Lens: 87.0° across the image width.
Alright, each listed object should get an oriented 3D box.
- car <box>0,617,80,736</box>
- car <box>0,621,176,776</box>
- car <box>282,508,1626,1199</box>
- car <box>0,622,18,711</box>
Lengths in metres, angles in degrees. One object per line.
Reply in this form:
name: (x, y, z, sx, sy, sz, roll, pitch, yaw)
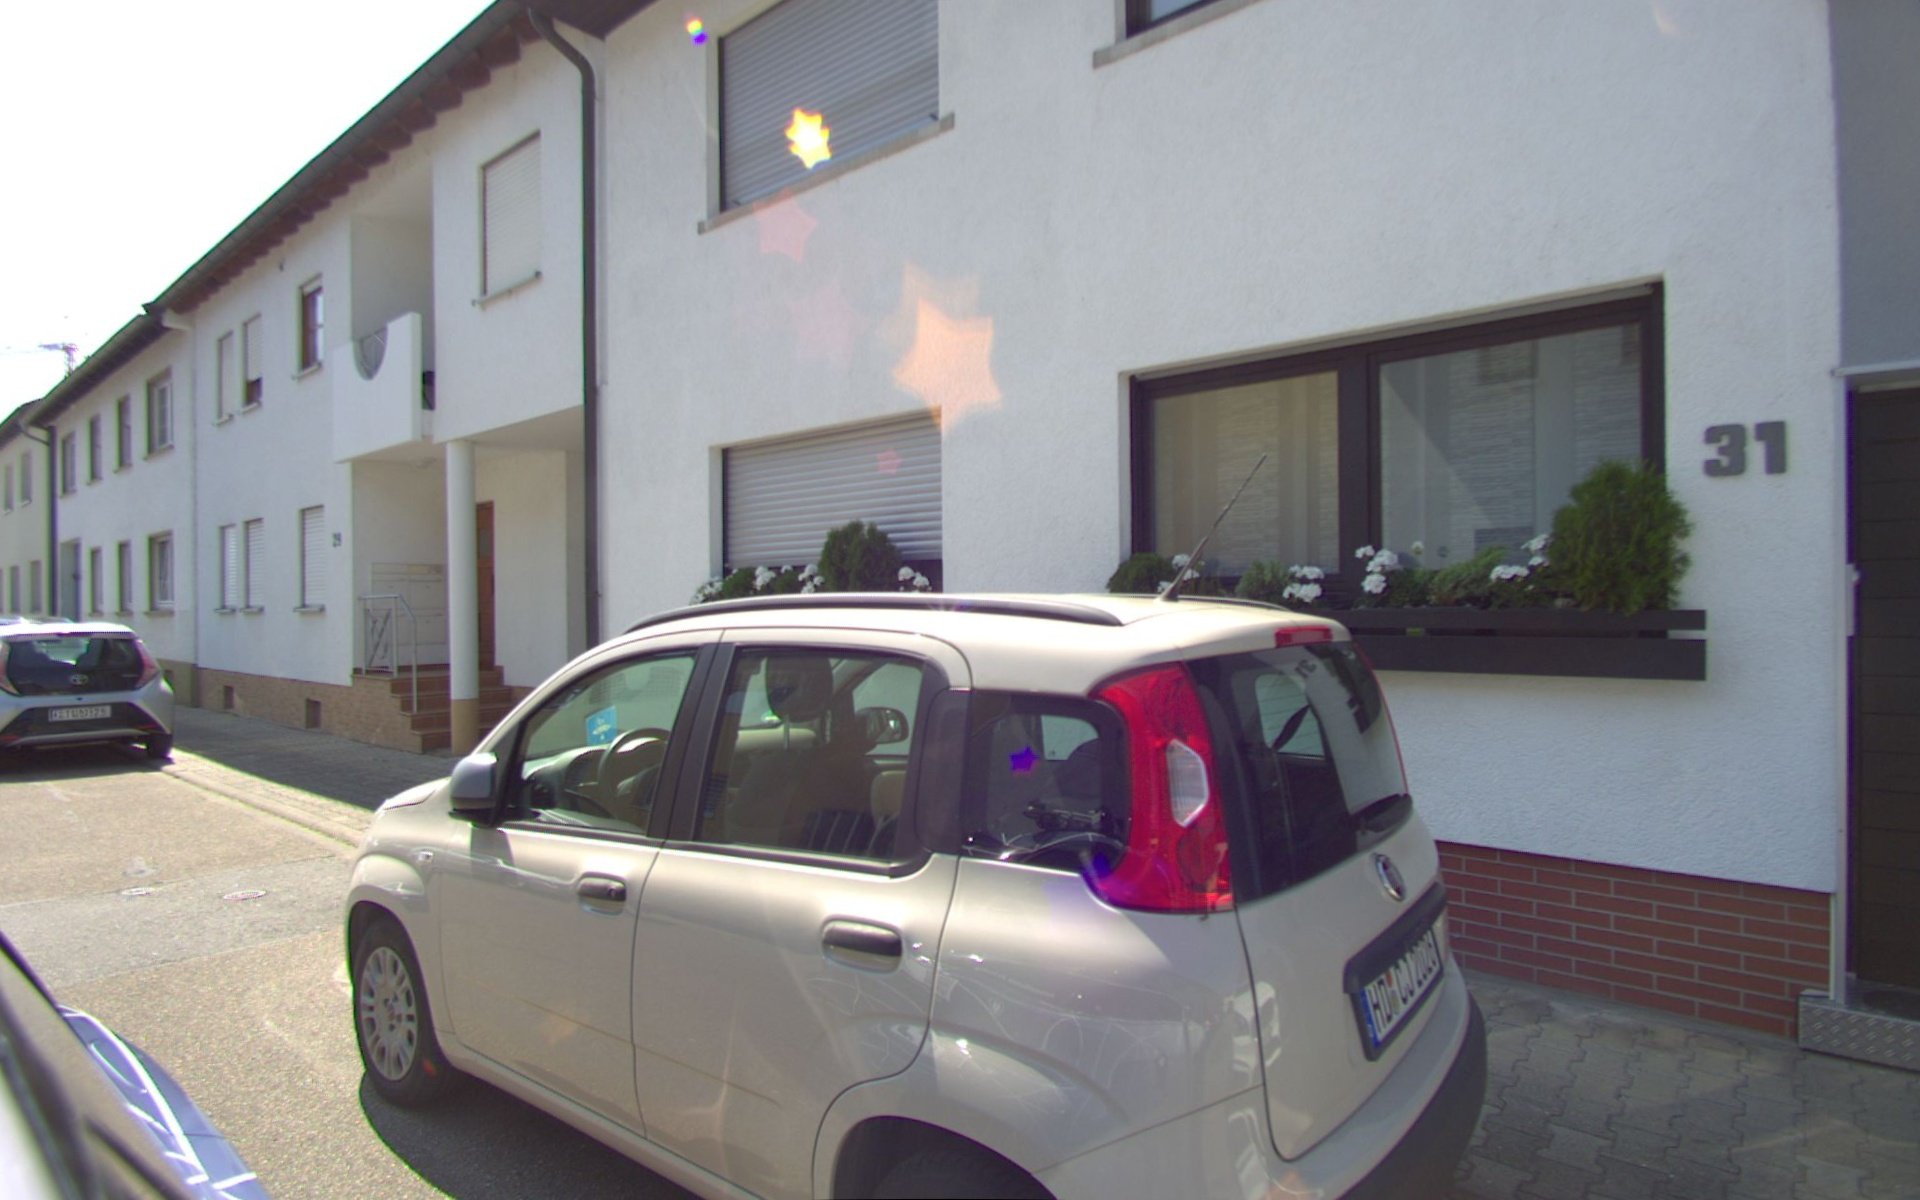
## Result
car: (-13.544, 1.013, 14.207, 3.024, 1.540, 1.396, -1, -2, 41)
car: (-9.896, 0.971, 11.014, 3.212, 1.454, 1.585, -2, -2, 41)
car: (-0.334, 0.705, 2.946, 3.683, 1.553, 1.647, -1, -2, 38)
car: (-17.474, 1.110, 17.499, 3.460, 1.466, 1.396, -1, -2, 42)
